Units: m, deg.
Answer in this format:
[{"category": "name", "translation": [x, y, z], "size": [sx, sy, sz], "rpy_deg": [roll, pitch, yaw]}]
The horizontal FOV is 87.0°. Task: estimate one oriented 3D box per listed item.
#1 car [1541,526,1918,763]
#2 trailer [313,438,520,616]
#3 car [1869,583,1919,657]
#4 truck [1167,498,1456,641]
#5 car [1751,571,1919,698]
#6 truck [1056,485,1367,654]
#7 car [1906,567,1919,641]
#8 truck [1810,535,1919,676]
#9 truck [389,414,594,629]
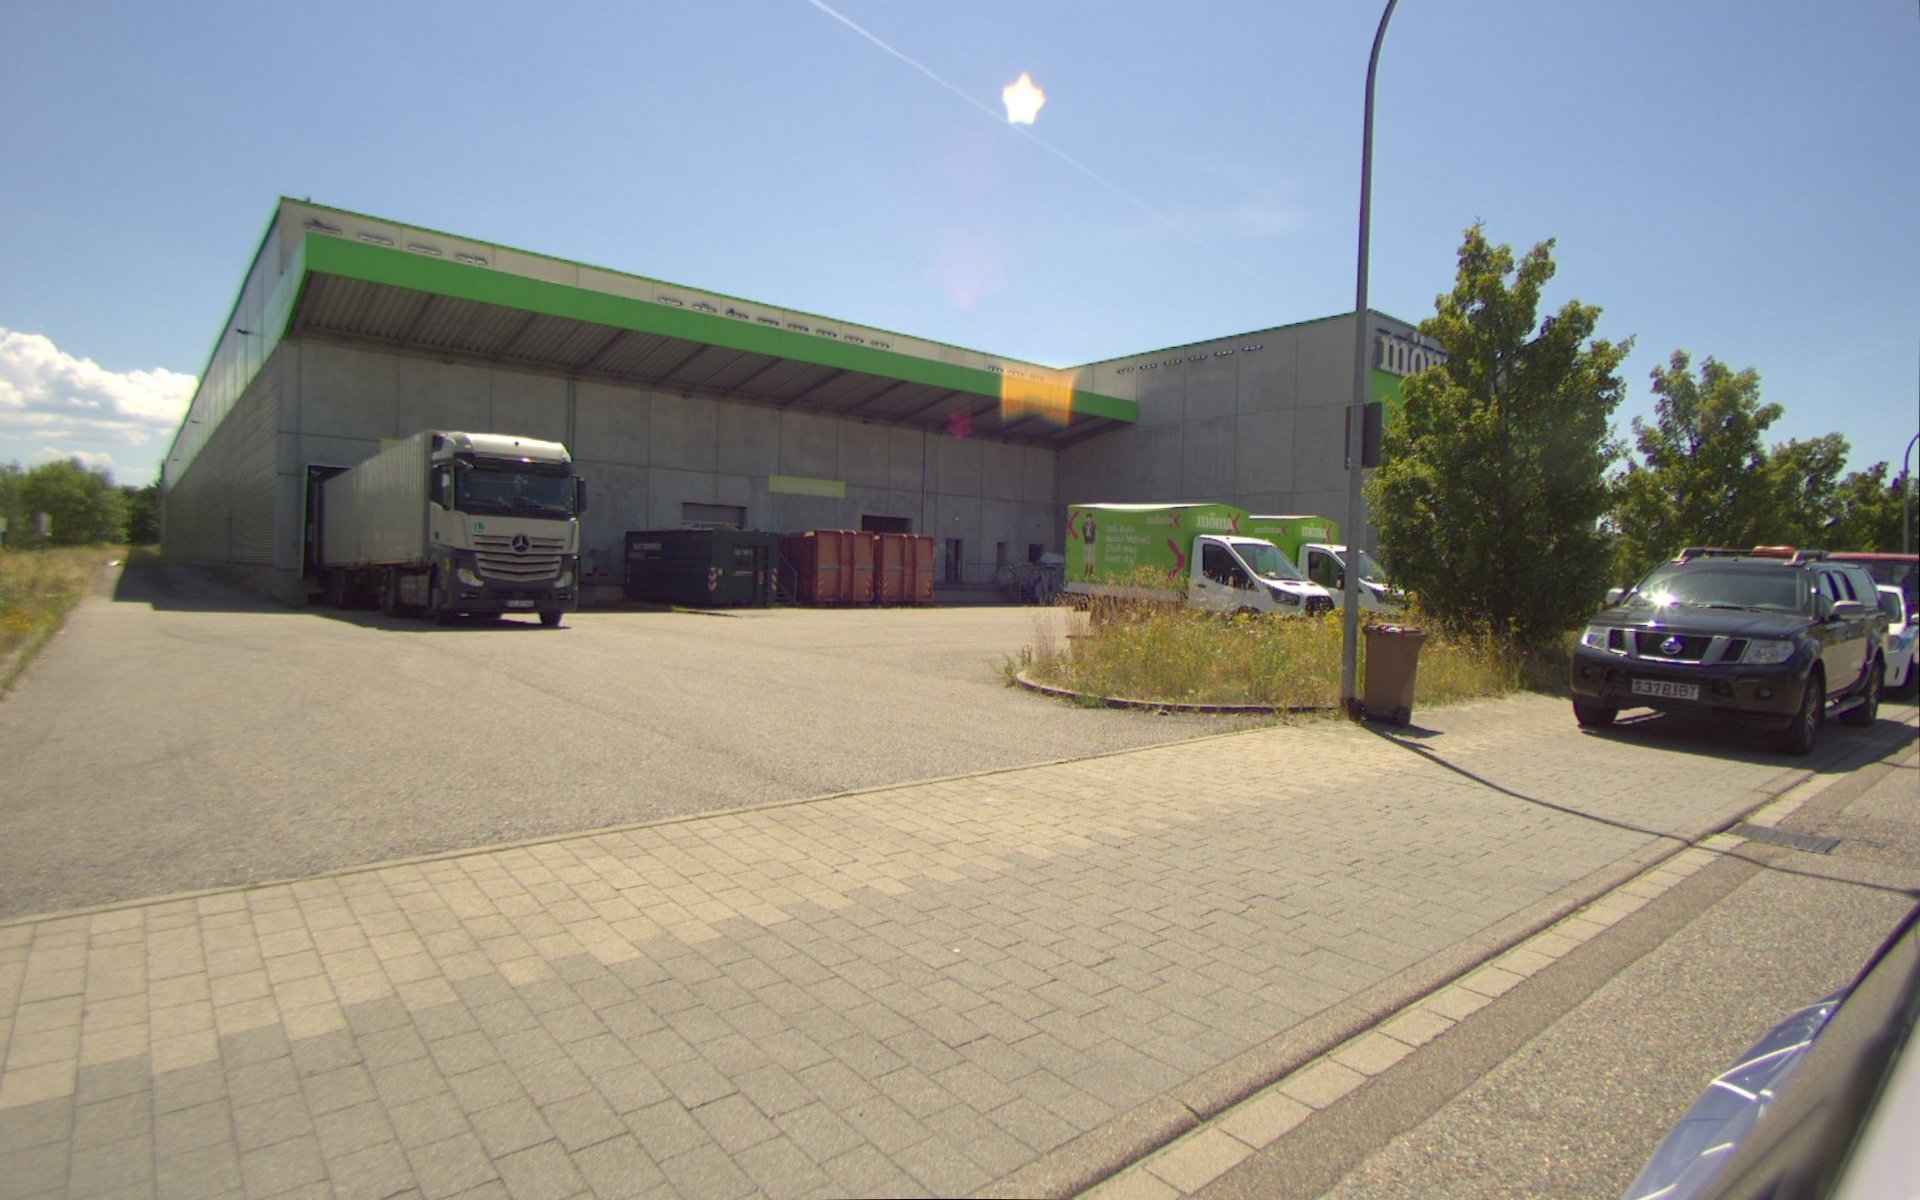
[{"category": "car", "translation": [8.179, 0.291, 10.552], "size": [5.064, 1.907, 1.998], "rpy_deg": [0, 3, -40]}, {"category": "trailer", "translation": [-15.531, -1.871, 28.173], "size": [2.754, 3.923, 12.650], "rpy_deg": [-1, 3, -39]}, {"category": "car", "translation": [20.789, 0.415, 21.338], "size": [4.751, 1.400, 1.702], "rpy_deg": [0, 4, -40]}, {"category": "truck", "translation": [7.958, -0.763, 23.503], "size": [2.267, 2.907, 5.911], "rpy_deg": [0, 3, -42]}, {"category": "car", "translation": [13.254, 0.414, 14.954], "size": [3.931, 1.549, 1.742], "rpy_deg": [0, 4, -42]}, {"category": "truck", "translation": [4.925, -0.669, 20.732], "size": [2.372, 2.949, 5.834], "rpy_deg": [0, 3, -40]}, {"category": "car", "translation": [24.974, 0.147, 24.928], "size": [4.688, 1.746, 1.816], "rpy_deg": [0, 3, -40]}, {"category": "truck", "translation": [16.542, 0.060, 17.776], "size": [4.313, 2.207, 1.683], "rpy_deg": [0, 4, -41]}, {"category": "truck", "translation": [-9.967, -1.546, 21.299], "size": [2.754, 3.923, 5.075], "rpy_deg": [-1, 2, -39]}]
